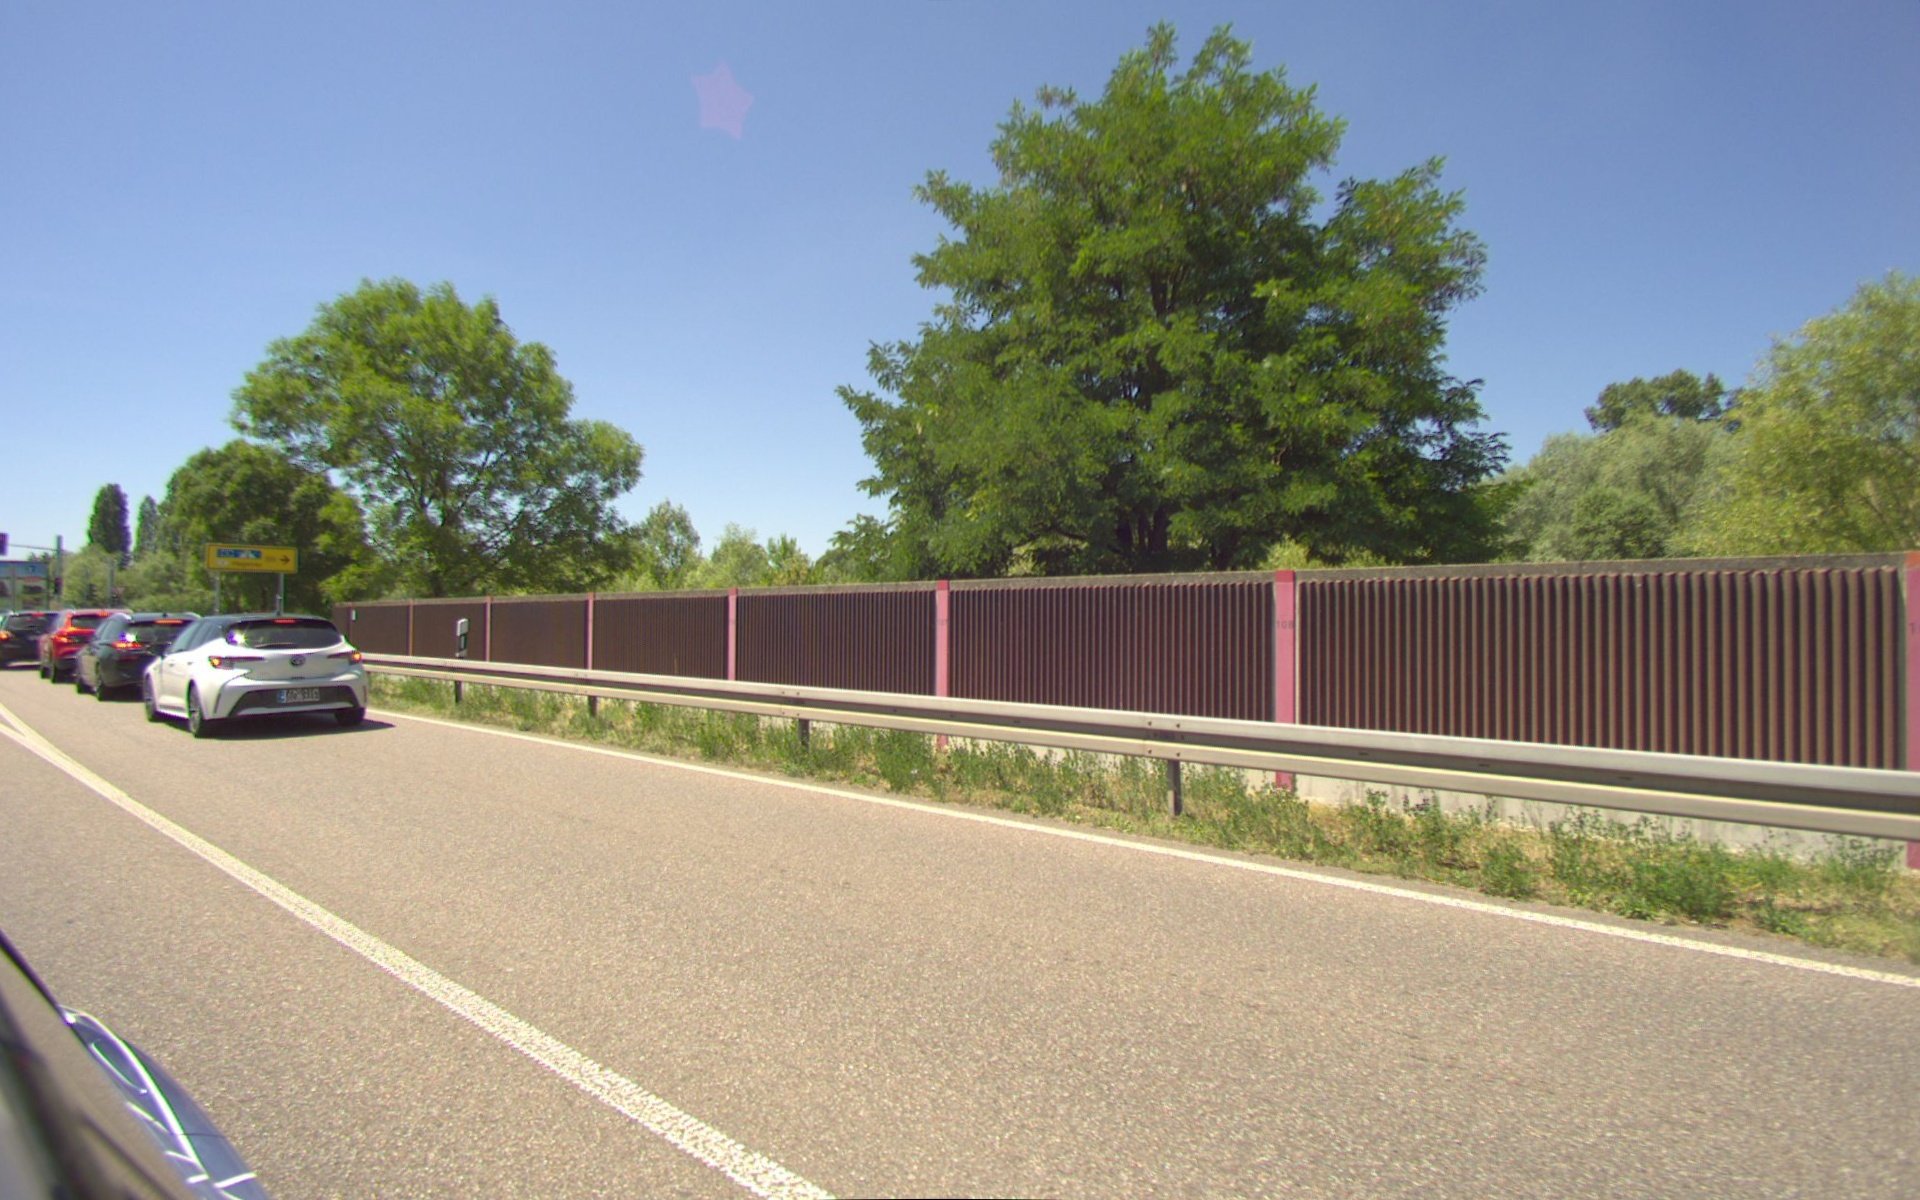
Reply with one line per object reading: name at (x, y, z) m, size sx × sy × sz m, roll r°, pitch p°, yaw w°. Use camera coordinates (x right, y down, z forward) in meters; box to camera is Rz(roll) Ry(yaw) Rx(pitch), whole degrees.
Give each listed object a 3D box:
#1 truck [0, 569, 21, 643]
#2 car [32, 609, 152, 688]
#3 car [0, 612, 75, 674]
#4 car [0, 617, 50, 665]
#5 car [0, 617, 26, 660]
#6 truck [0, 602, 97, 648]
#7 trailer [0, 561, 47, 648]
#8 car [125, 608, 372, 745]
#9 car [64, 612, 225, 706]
truck at (-54.952, 0.347, 56.946) m, size 5.824 × 4.075 × 2.660 m, roll -1°, pitch 0°, yaw 42°
car at (-20.000, 1.051, 23.257) m, size 4.280 × 1.644 × 1.736 m, roll -2°, pitch -1°, yaw 44°
car at (-26.297, 1.171, 28.540) m, size 4.536 × 1.601 × 1.697 m, roll -1°, pitch -1°, yaw 45°
car at (-31.206, 1.311, 33.287) m, size 4.632 × 1.490 × 1.634 m, roll -1°, pitch -1°, yaw 45°
car at (-36.513, 1.428, 38.265) m, size 1.605 × 1.549 × 4.387 m, roll 2°, pitch -2°, yaw -45°
truck at (-68.043, 1.783, 72.679) m, size 2.674 × 3.220 × 9.119 m, roll 0°, pitch -2°, yaw 18°
trailer at (-49.898, 0.285, 52.296) m, size 14.122 × 4.075 × 2.660 m, roll -1°, pitch 0°, yaw 42°
car at (-9.430, 0.875, 13.251) m, size 4.615 × 1.471 × 1.667 m, roll -1°, pitch 0°, yaw 42°
car at (-14.826, 0.981, 18.311) m, size 4.616 × 1.471 × 1.667 m, roll -1°, pitch 0°, yaw 43°
